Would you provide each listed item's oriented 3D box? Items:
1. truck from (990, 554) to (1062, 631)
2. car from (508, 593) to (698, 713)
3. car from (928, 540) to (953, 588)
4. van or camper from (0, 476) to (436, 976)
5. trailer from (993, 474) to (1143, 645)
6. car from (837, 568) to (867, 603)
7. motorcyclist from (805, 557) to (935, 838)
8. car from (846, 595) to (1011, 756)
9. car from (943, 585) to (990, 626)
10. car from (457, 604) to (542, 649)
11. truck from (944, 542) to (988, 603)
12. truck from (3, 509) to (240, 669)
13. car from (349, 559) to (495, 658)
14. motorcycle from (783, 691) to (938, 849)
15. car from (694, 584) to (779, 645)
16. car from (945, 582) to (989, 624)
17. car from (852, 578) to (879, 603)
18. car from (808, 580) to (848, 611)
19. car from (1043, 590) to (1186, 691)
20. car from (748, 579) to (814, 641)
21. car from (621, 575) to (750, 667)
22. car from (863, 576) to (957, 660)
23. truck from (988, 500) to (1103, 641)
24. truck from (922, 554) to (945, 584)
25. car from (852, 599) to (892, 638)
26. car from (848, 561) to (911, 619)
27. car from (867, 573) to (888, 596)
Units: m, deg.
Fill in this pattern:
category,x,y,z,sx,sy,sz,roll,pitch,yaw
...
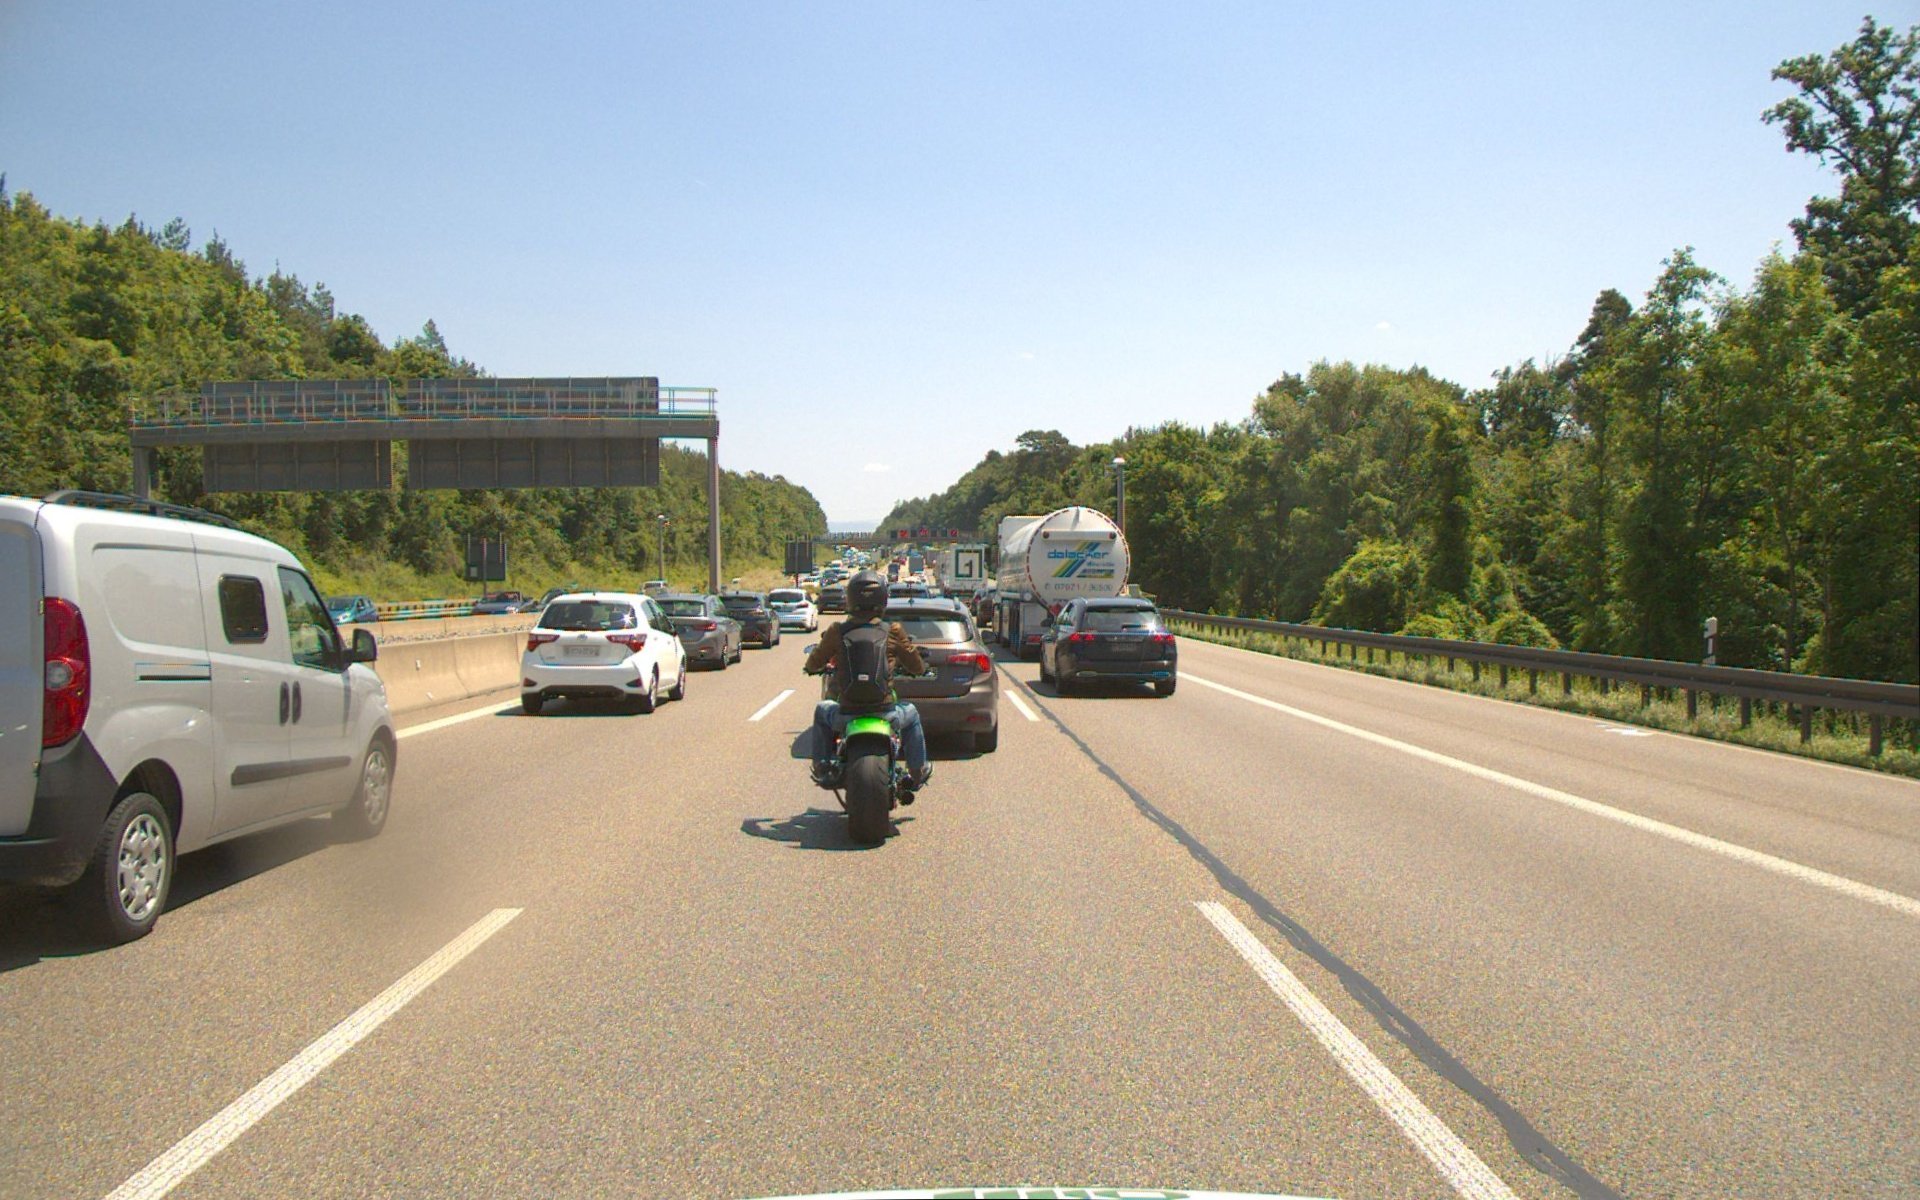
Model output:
category,x,y,z,sx,sy,sz,roll,pitch,yaw
truck,2.693,-0.307,69.748,2.340,3.031,8.248,0,0,-3
car,-4.636,0.663,21.999,1.740,1.435,3.998,0,-1,-2
car,-1.766,-3.150,147.859,2.123,3.961,9.326,0,-1,-2
van or camper,-4.336,0.449,8.597,1.815,1.913,4.561,1,1,-1
trailer,2.488,-0.819,41.648,2.771,3.735,10.728,0,-1,-2
car,-6.486,-0.848,99.785,1.627,2.012,3.999,0,0,-1
motorcyclist,-0.562,0.605,10.670,0.783,1.717,1.016,0,-1,-2
car,-0.343,0.694,17.257,1.510,1.475,3.999,0,0,-2
car,0.234,0.239,65.537,1.740,1.554,3.998,0,-1,-2
car,-16.431,0.936,59.187,1.953,1.546,3.999,0,-1,-1
truck,0.465,-1.780,111.503,2.794,3.888,7.188,0,-1,1
truck,-23.054,-0.234,46.057,2.638,4.059,7.987,0,-1,-2
car,-11.886,0.205,36.800,1.953,2.049,3.999,0,-1,-1
motorcycle,-0.620,1.075,10.983,0.917,0.807,2.298,0,0,-2
car,-5.799,0.391,43.344,1.954,1.490,3.996,1,-1,-4
car,0.329,0.165,82.047,1.954,2.049,3.997,1,-1,-3
car,-6.407,-0.611,112.295,1.627,1.627,3.999,0,0,-1
car,-6.681,-0.211,83.991,1.728,1.467,3.999,0,-1,-1
car,2.413,0.633,26.852,1.756,1.484,4.622,0,-1,-2
car,-6.155,0.349,57.174,1.953,2.049,3.998,0,-1,-2
car,-5.408,0.425,33.076,1.953,1.713,4.328,0,-1,-2
car,-1.133,0.407,36.779,1.953,1.741,3.998,1,-1,-2
truck,2.339,-0.743,47.221,2.771,3.735,6.427,0,-1,-2
truck,-3.310,-3.703,201.037,2.642,3.465,10.474,-1,0,-2
car,-4.650,0.986,87.906,1.953,2.049,3.998,0,-1,-2
car,-2.622,-0.304,54.185,1.953,1.806,3.998,1,-1,-2
car,-7.760,-1.441,155.832,1.953,2.049,3.999,-1,0,-2
